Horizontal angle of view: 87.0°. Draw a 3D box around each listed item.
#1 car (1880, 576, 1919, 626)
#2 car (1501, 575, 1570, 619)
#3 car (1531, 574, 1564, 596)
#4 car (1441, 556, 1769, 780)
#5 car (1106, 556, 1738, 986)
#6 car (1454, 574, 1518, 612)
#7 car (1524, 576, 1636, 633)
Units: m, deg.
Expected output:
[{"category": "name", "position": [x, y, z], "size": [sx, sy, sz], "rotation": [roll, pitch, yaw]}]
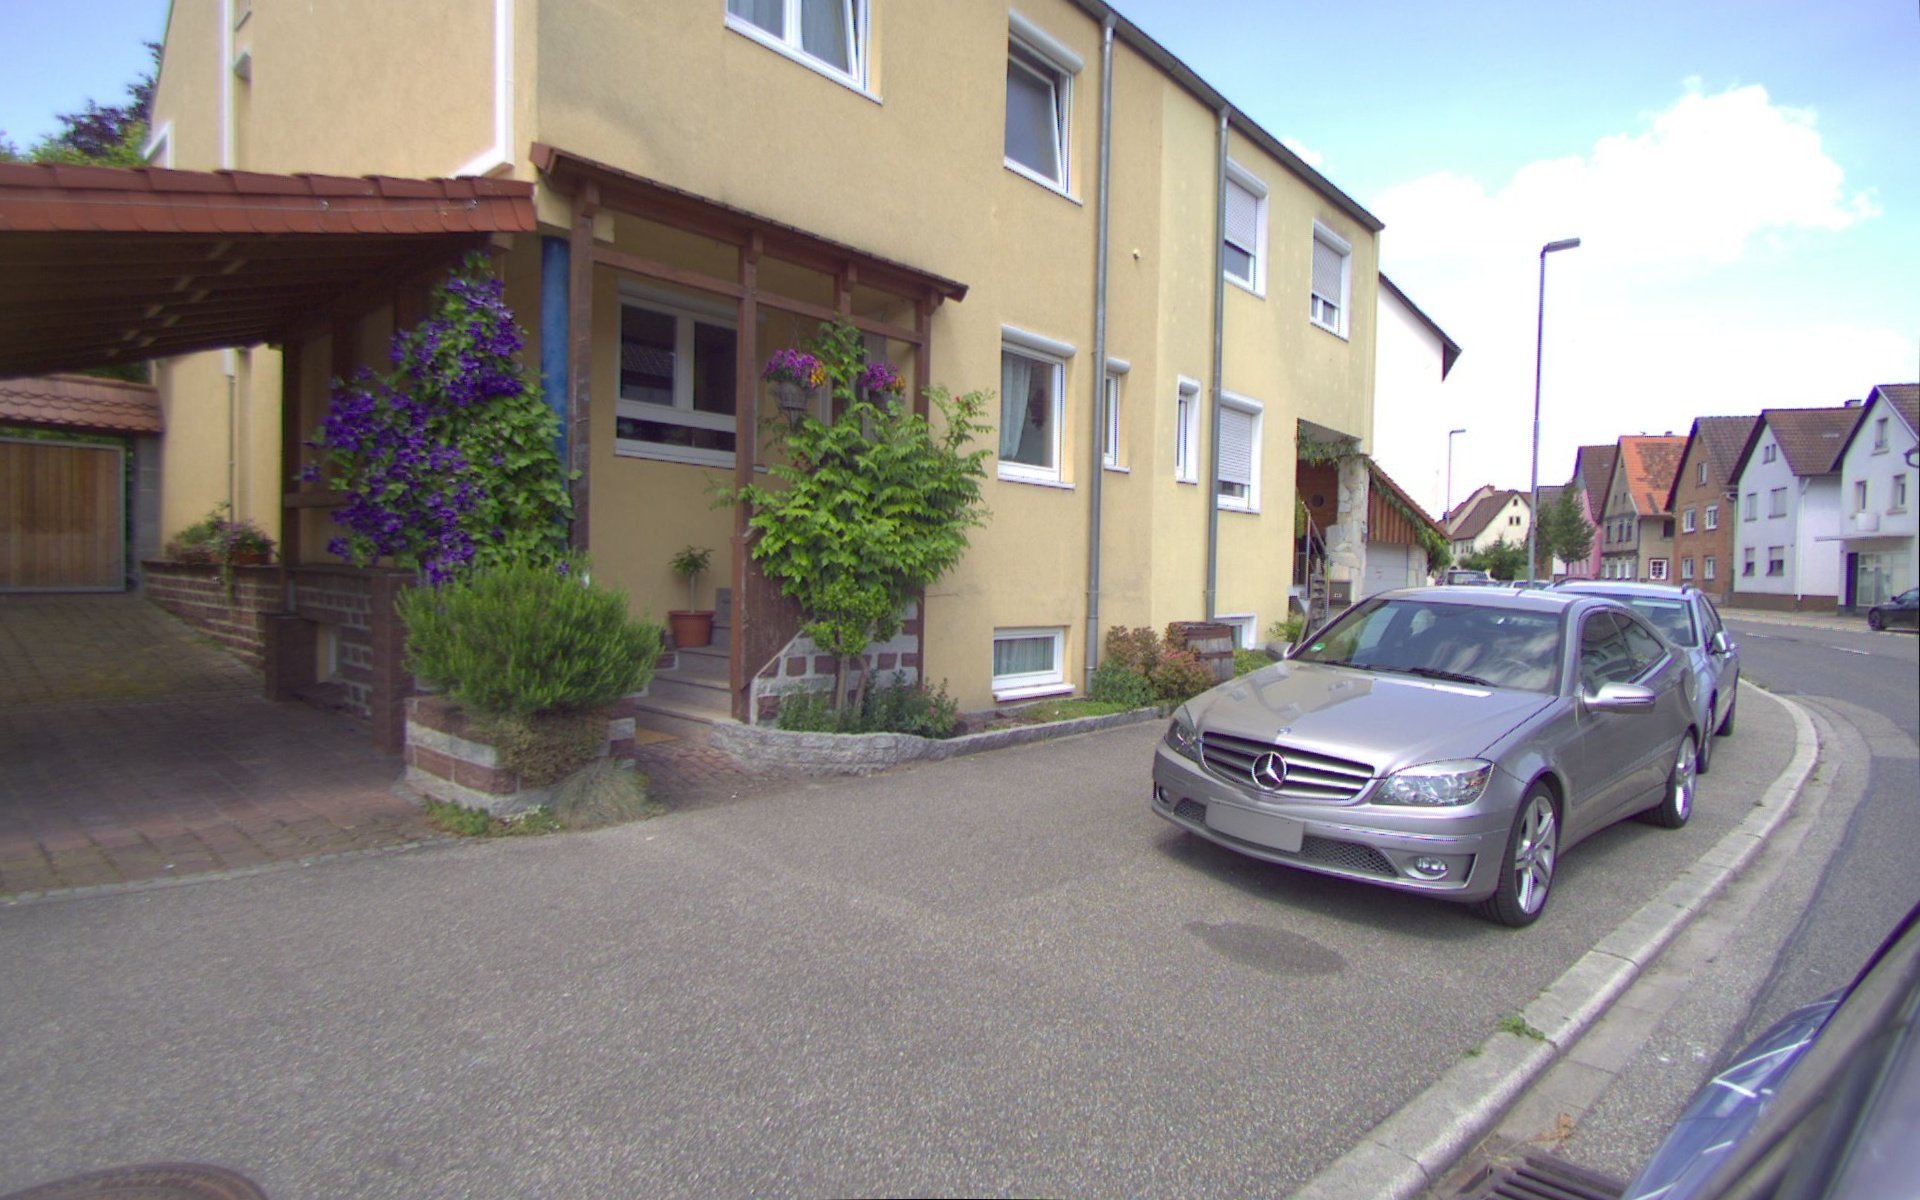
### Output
[{"category": "car", "position": [28.615, 0.029, 29.047], "size": [1.789, 1.438, 4.517], "rotation": [0, 1, 22]}, {"category": "car", "position": [21.539, -0.091, 37.982], "size": [1.754, 1.549, 3.968], "rotation": [1, 0, 23]}, {"category": "car", "position": [44.107, -1.170, 76.070], "size": [1.665, 1.548, 3.475], "rotation": [0, 2, 22]}, {"category": "car", "position": [6.258, 0.434, 9.583], "size": [1.885, 1.548, 4.270], "rotation": [5, 5, 42]}, {"category": "car", "position": [2.872, 0.513, 5.702], "size": [4.354, 1.416, 1.772], "rotation": [-3, 6, -45]}, {"category": "car", "position": [24.168, -0.331, 46.634], "size": [1.640, 1.668, 3.985], "rotation": [0, 1, 13]}, {"category": "car", "position": [17.997, 0.066, 29.579], "size": [1.704, 1.402, 3.982], "rotation": [1, 3, 16]}]
